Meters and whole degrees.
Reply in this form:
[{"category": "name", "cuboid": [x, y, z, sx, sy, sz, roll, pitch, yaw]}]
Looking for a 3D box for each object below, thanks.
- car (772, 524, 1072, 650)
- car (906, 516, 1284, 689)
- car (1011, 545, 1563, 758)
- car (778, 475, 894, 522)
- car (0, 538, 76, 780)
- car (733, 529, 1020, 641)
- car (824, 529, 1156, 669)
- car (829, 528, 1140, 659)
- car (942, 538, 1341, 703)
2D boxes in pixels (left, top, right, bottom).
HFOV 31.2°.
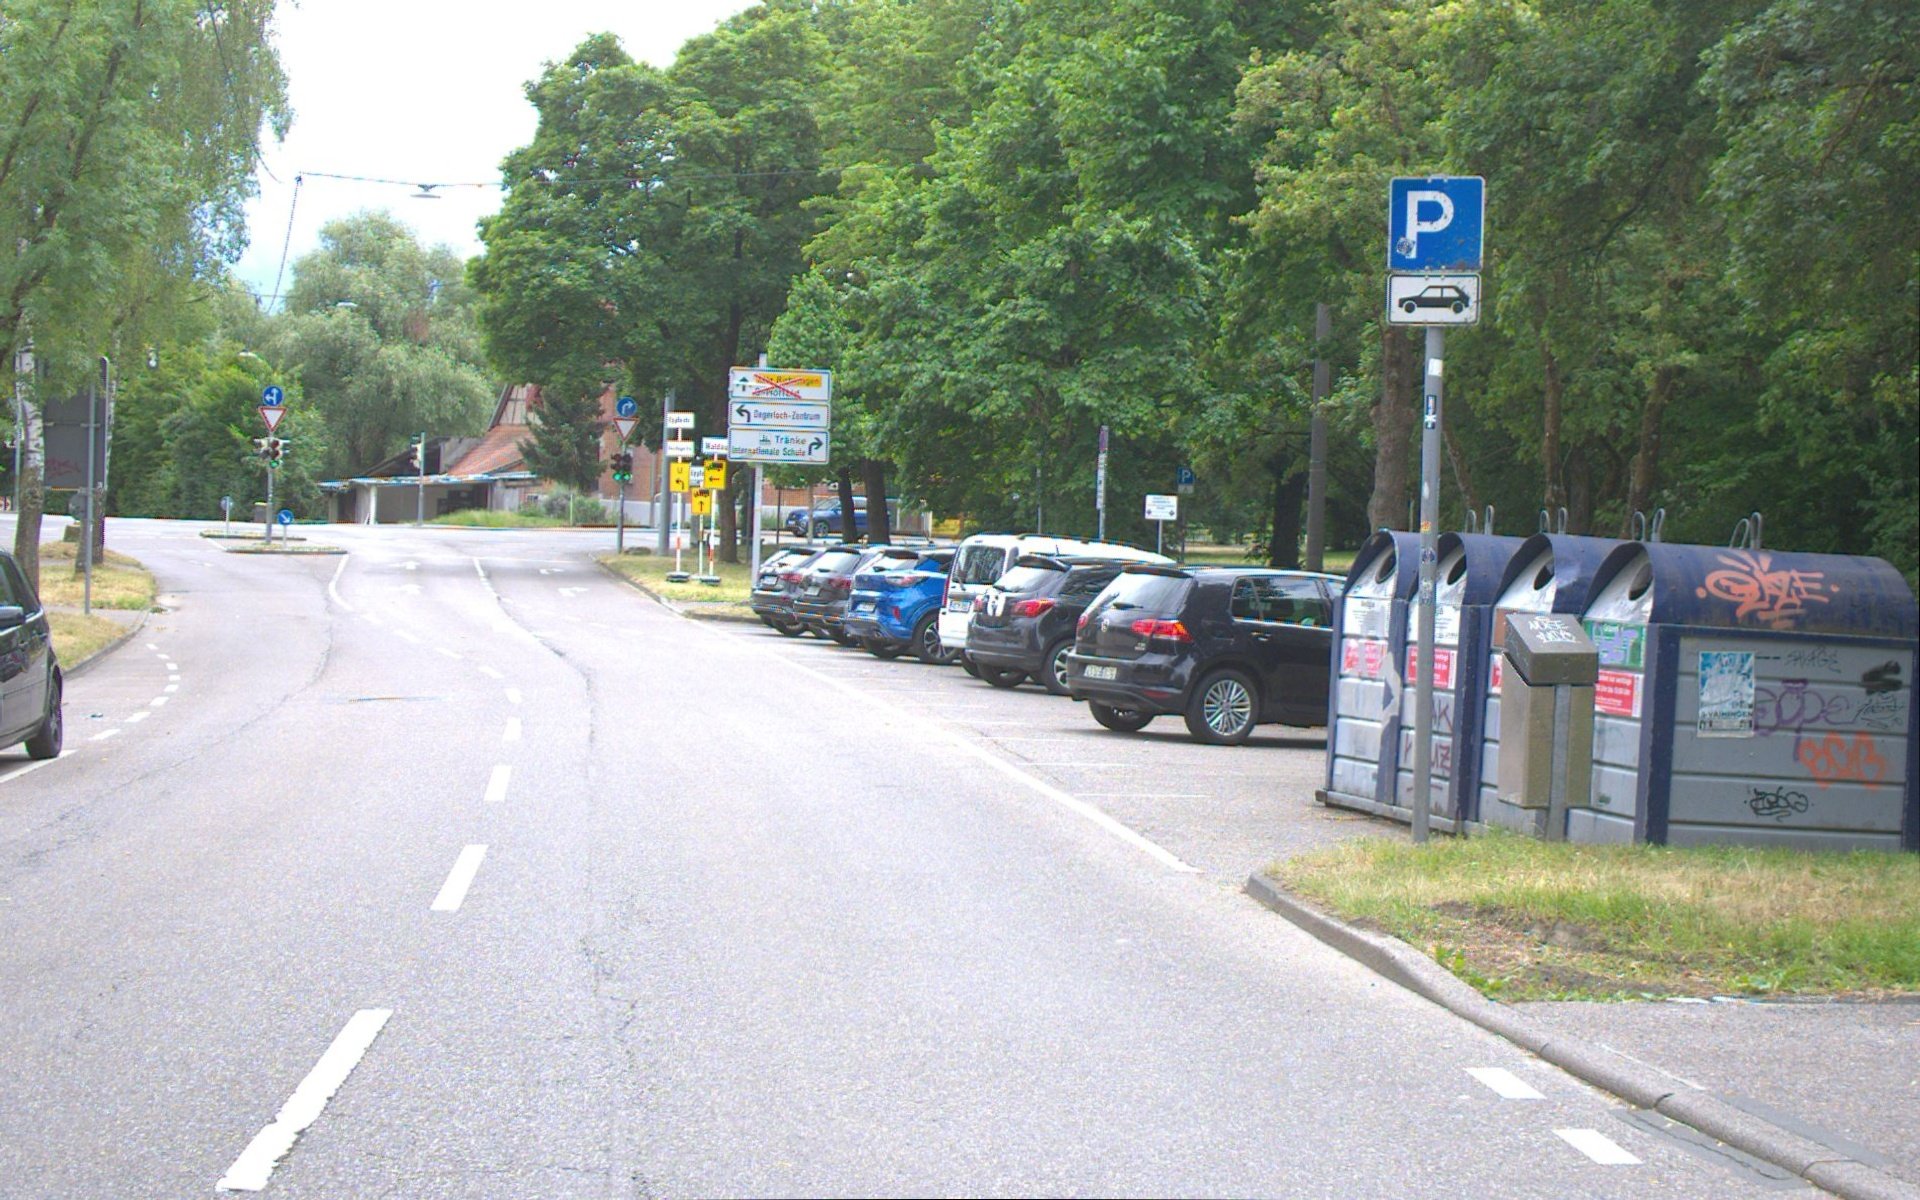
[{"category": "car", "cuboid": [-0.538, -0.180, 49.161, 3.818, 1.523, 1.747, 4, 0, -27]}, {"category": "car", "cuboid": [1.562, 0.029, 39.656, 3.818, 1.714, 1.879, 4, 0, -27]}, {"category": "car", "cuboid": [2.721, 0.428, 28.632, 3.986, 1.409, 2.058, 4, 2, -27]}, {"category": "car", "cuboid": [-4.676, -3.827, 129.807, 3.844, 1.641, 2.000, 0, 2, -29]}, {"category": "car", "cuboid": [-7.252, 0.389, 23.291, 1.804, 1.557, 4.268, -2, 1, -6]}, {"category": "car", "cuboid": [-1.262, -0.234, 52.290, 3.872, 1.421, 1.830, 4, 0, -27]}, {"category": "car", "cuboid": [0.388, -0.013, 44.319, 3.818, 1.523, 1.747, 4, 0, -27]}, {"category": "car", "cuboid": [0.341, -0.084, 47.266, 3.818, 1.523, 1.747, 4, 0, -27]}, {"category": "car", "cuboid": [1.958, 0.223, 36.920, 3.818, 1.463, 1.747, 4, 1, -27]}]
